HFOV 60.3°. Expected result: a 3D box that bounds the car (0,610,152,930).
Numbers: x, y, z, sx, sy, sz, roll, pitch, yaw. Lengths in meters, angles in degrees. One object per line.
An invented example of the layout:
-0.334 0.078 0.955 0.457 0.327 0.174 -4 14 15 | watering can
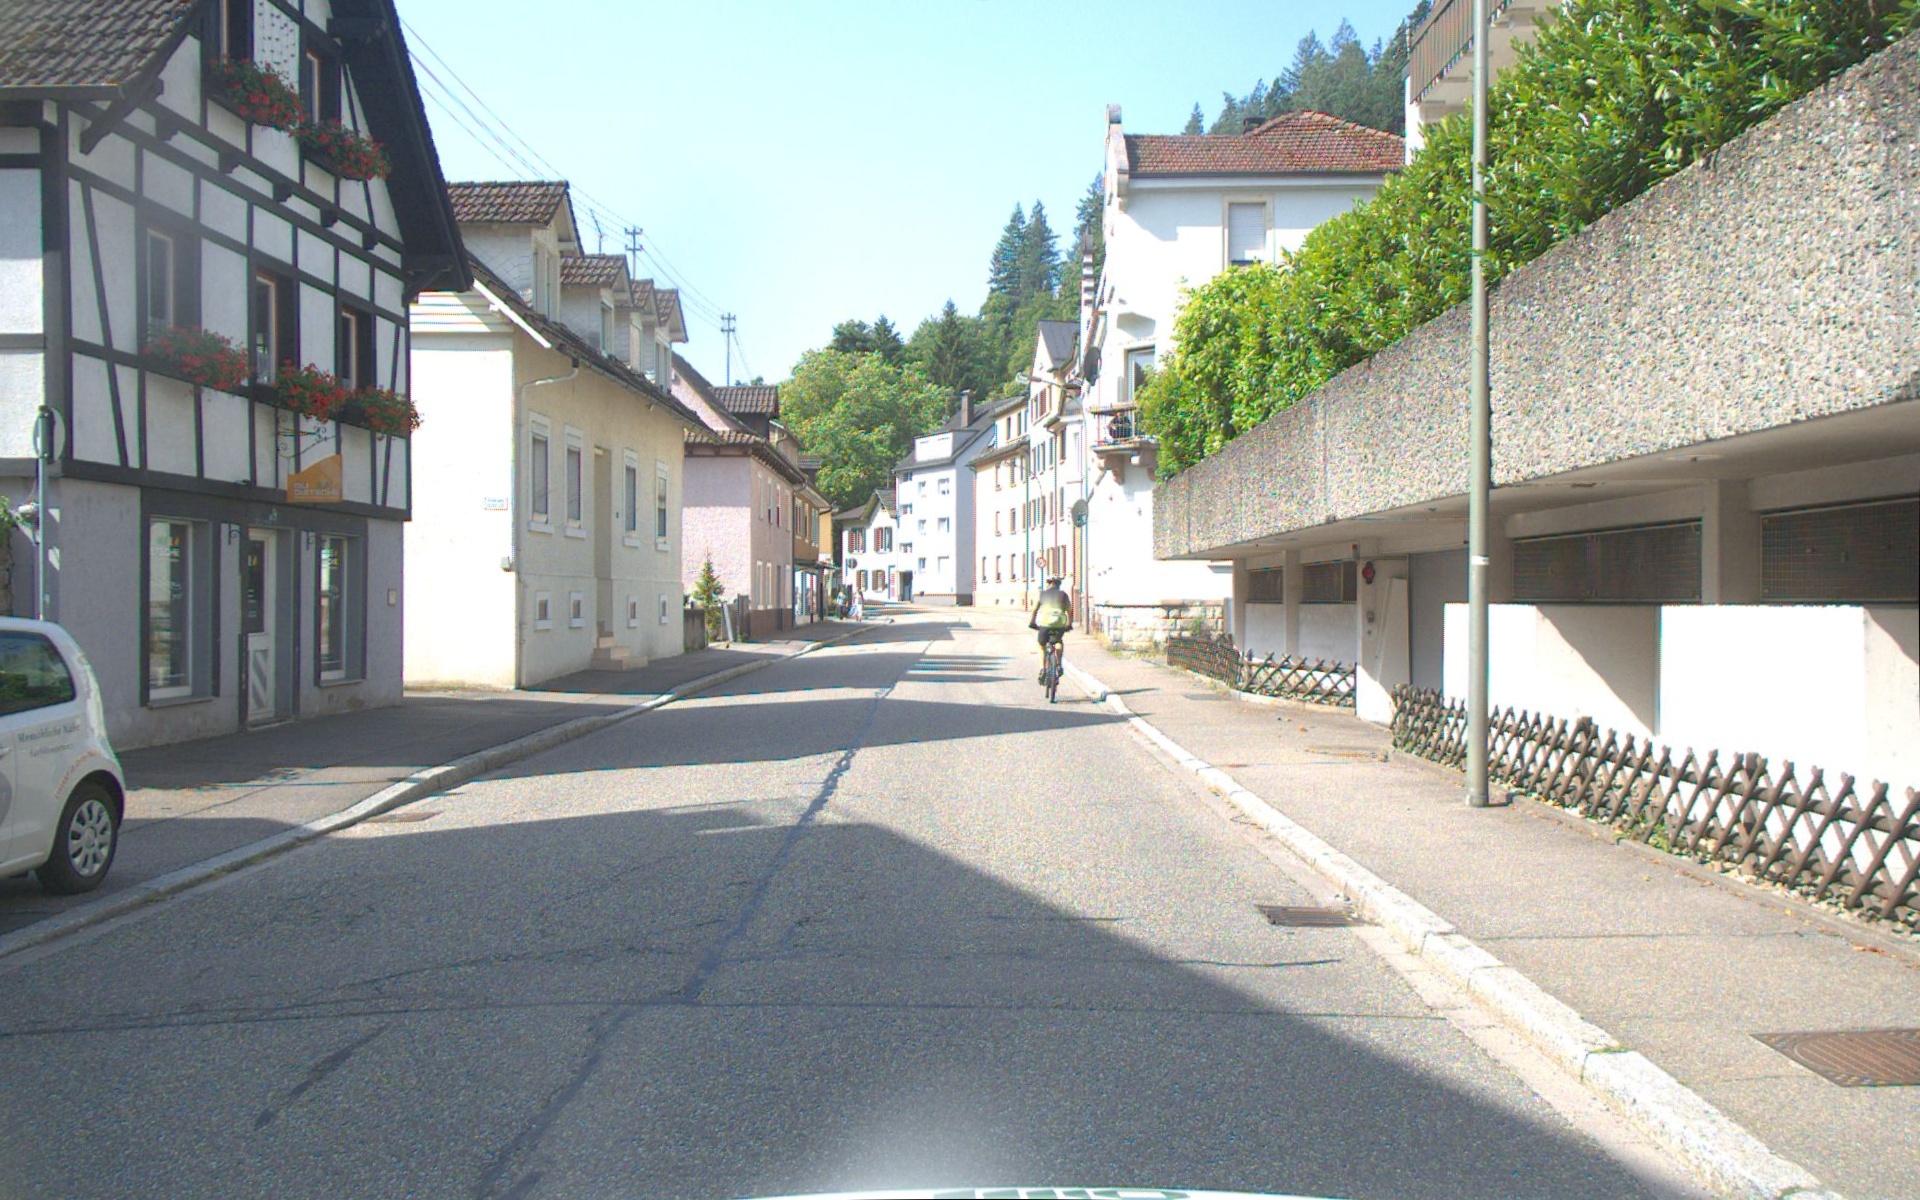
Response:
-5.333 0.814 7.392 1.632 1.457 3.569 1 1 1 | car

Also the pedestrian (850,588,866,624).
-4.798 0.292 77.988 0.626 1.654 0.777 3 0 1 | pedestrian

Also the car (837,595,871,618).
-7.593 0.476 118.216 1.572 1.490 3.641 -3 0 -17 | car

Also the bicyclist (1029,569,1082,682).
1.352 0.355 23.438 0.671 1.558 0.715 -1 0 -1 | bicyclist

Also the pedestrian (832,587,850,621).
-5.622 0.187 78.125 0.720 1.592 0.824 3 0 1 | pedestrian

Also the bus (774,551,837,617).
-8.202 -0.871 88.746 2.763 3.284 9.032 1 0 -2 | bus

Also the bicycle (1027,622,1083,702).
1.334 0.866 23.539 0.684 1.053 1.471 0 1 -1 | bicycle
